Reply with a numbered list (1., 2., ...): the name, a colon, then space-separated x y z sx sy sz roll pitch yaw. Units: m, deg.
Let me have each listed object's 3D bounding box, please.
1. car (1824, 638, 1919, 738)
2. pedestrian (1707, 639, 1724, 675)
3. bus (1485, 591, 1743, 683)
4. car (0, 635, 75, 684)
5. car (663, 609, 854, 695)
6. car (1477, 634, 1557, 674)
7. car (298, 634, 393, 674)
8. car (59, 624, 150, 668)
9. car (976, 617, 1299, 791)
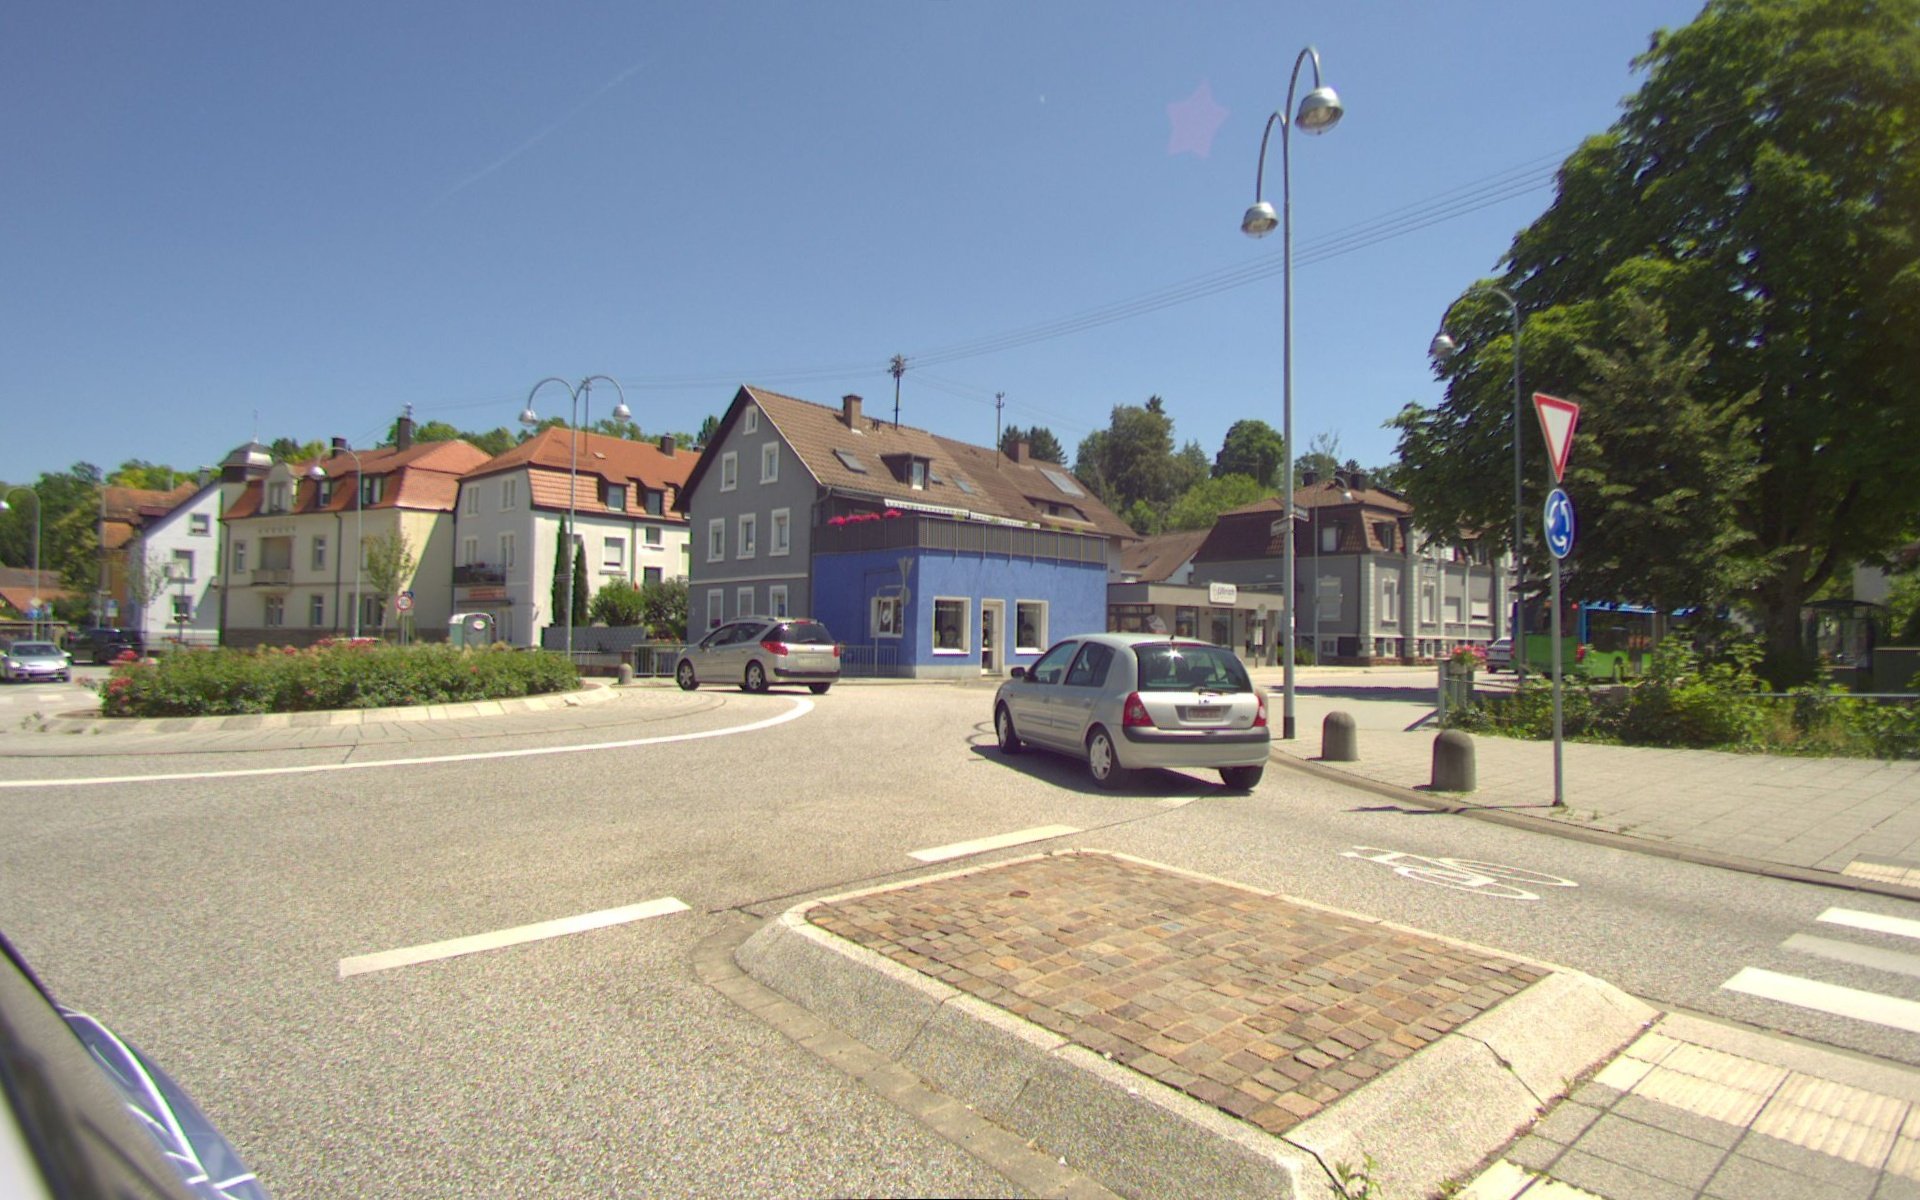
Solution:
1. car: 16.098 1.406 16.381 3.054 1.564 1.614 -2 -3 37
2. pedestrian: 31.051 2.319 41.592 0.491 1.465 0.523 -2 -3 44
3. bus: 27.955 1.587 42.429 17.779 3.195 3.726 3 -1 -39
4. car: -33.351 2.082 36.404 4.205 1.668 1.971 -2 -3 45
5. car: -4.121 1.005 20.284 1.720 1.528 4.211 5 -4 -44
6. car: 24.785 2.374 44.973 4.344 1.674 1.906 2 -3 -45
7. car: -23.978 2.060 39.458 4.067 1.402 1.591 -1 0 34
8. car: -43.240 2.317 51.158 3.976 2.029 1.984 1 -1 24
9. car: 1.581 0.955 10.335 1.523 1.423 3.730 3 -3 -20
